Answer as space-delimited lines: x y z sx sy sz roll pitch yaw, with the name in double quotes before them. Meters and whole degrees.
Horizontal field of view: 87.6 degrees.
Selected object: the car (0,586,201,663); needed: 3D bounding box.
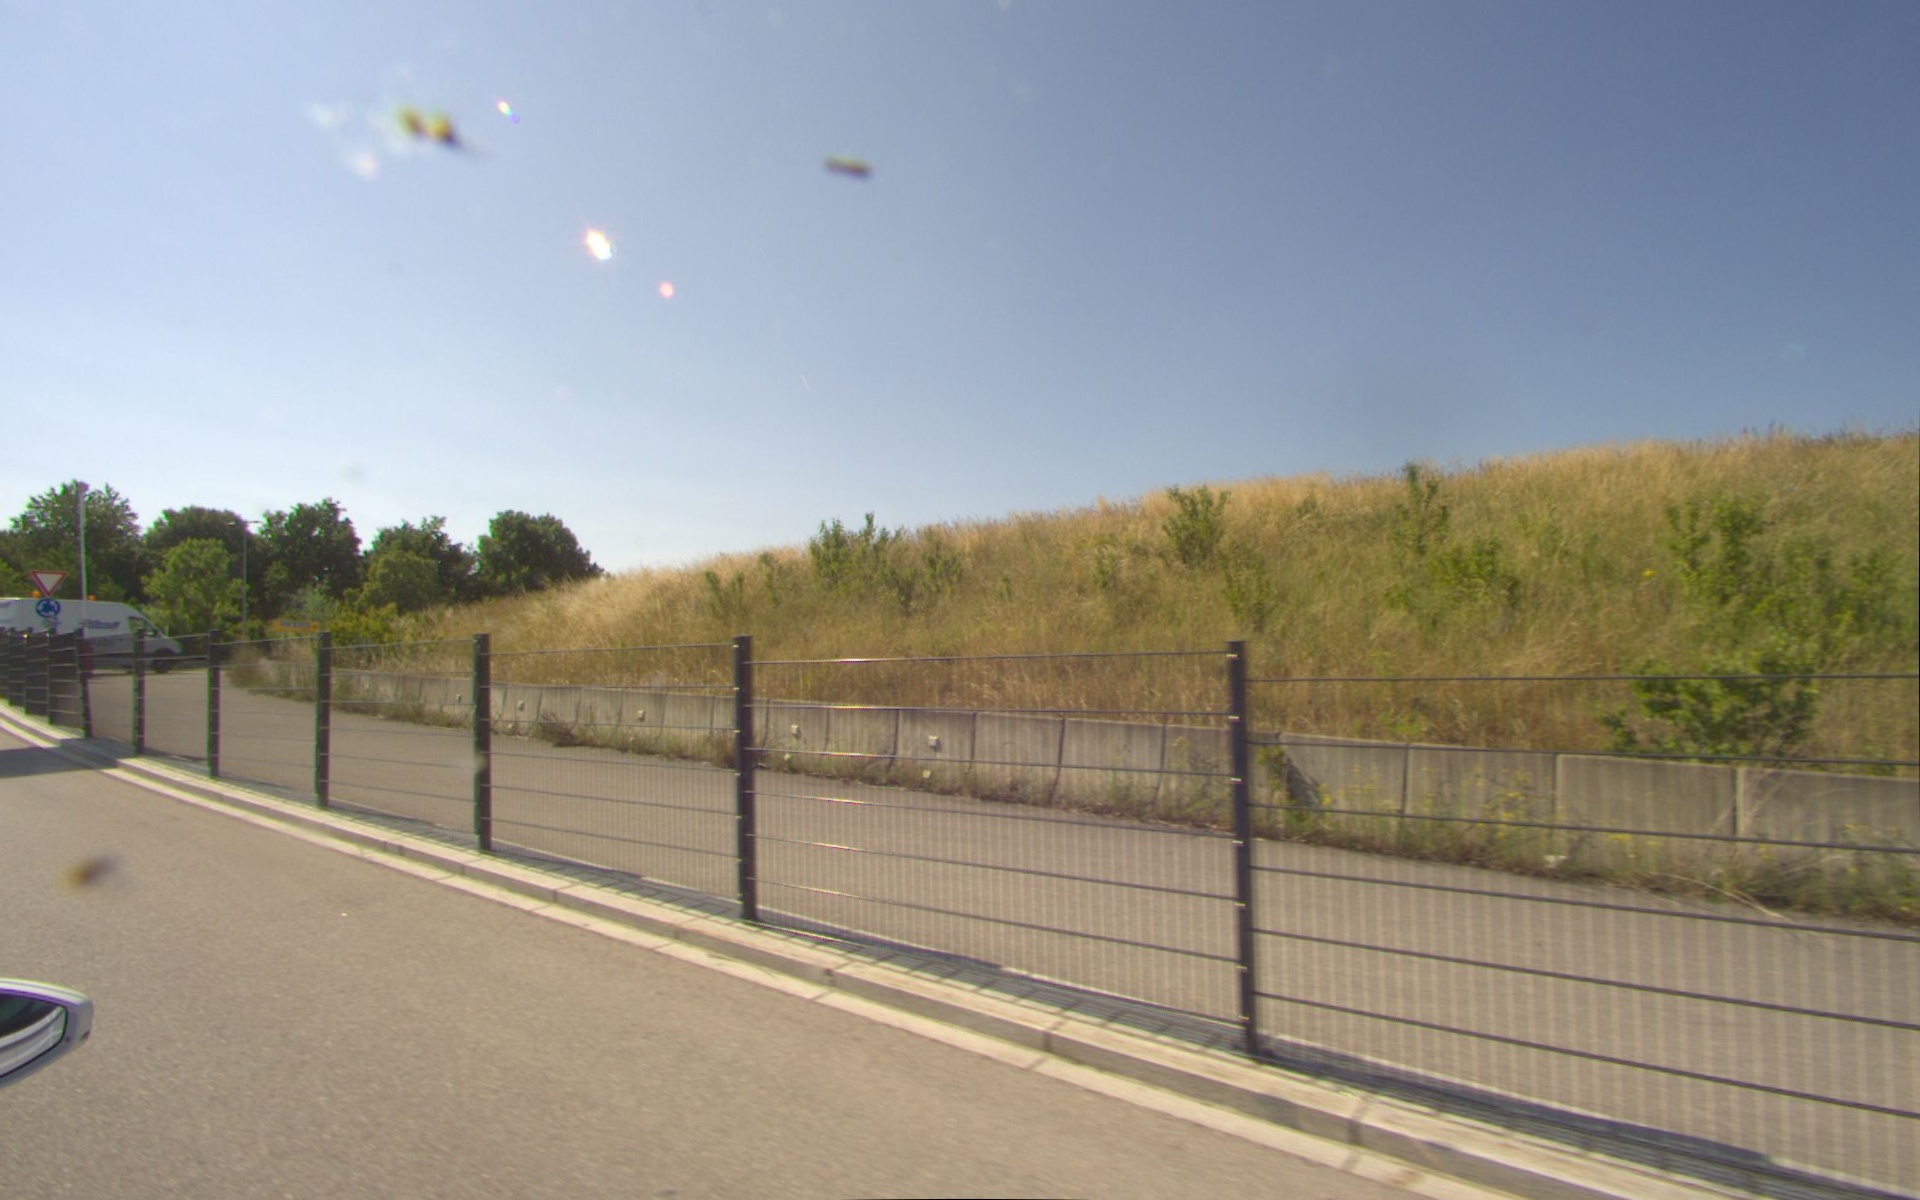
"car" -32.086 1.004 37.159 2.052 2.586 6.189 0 -3 17
